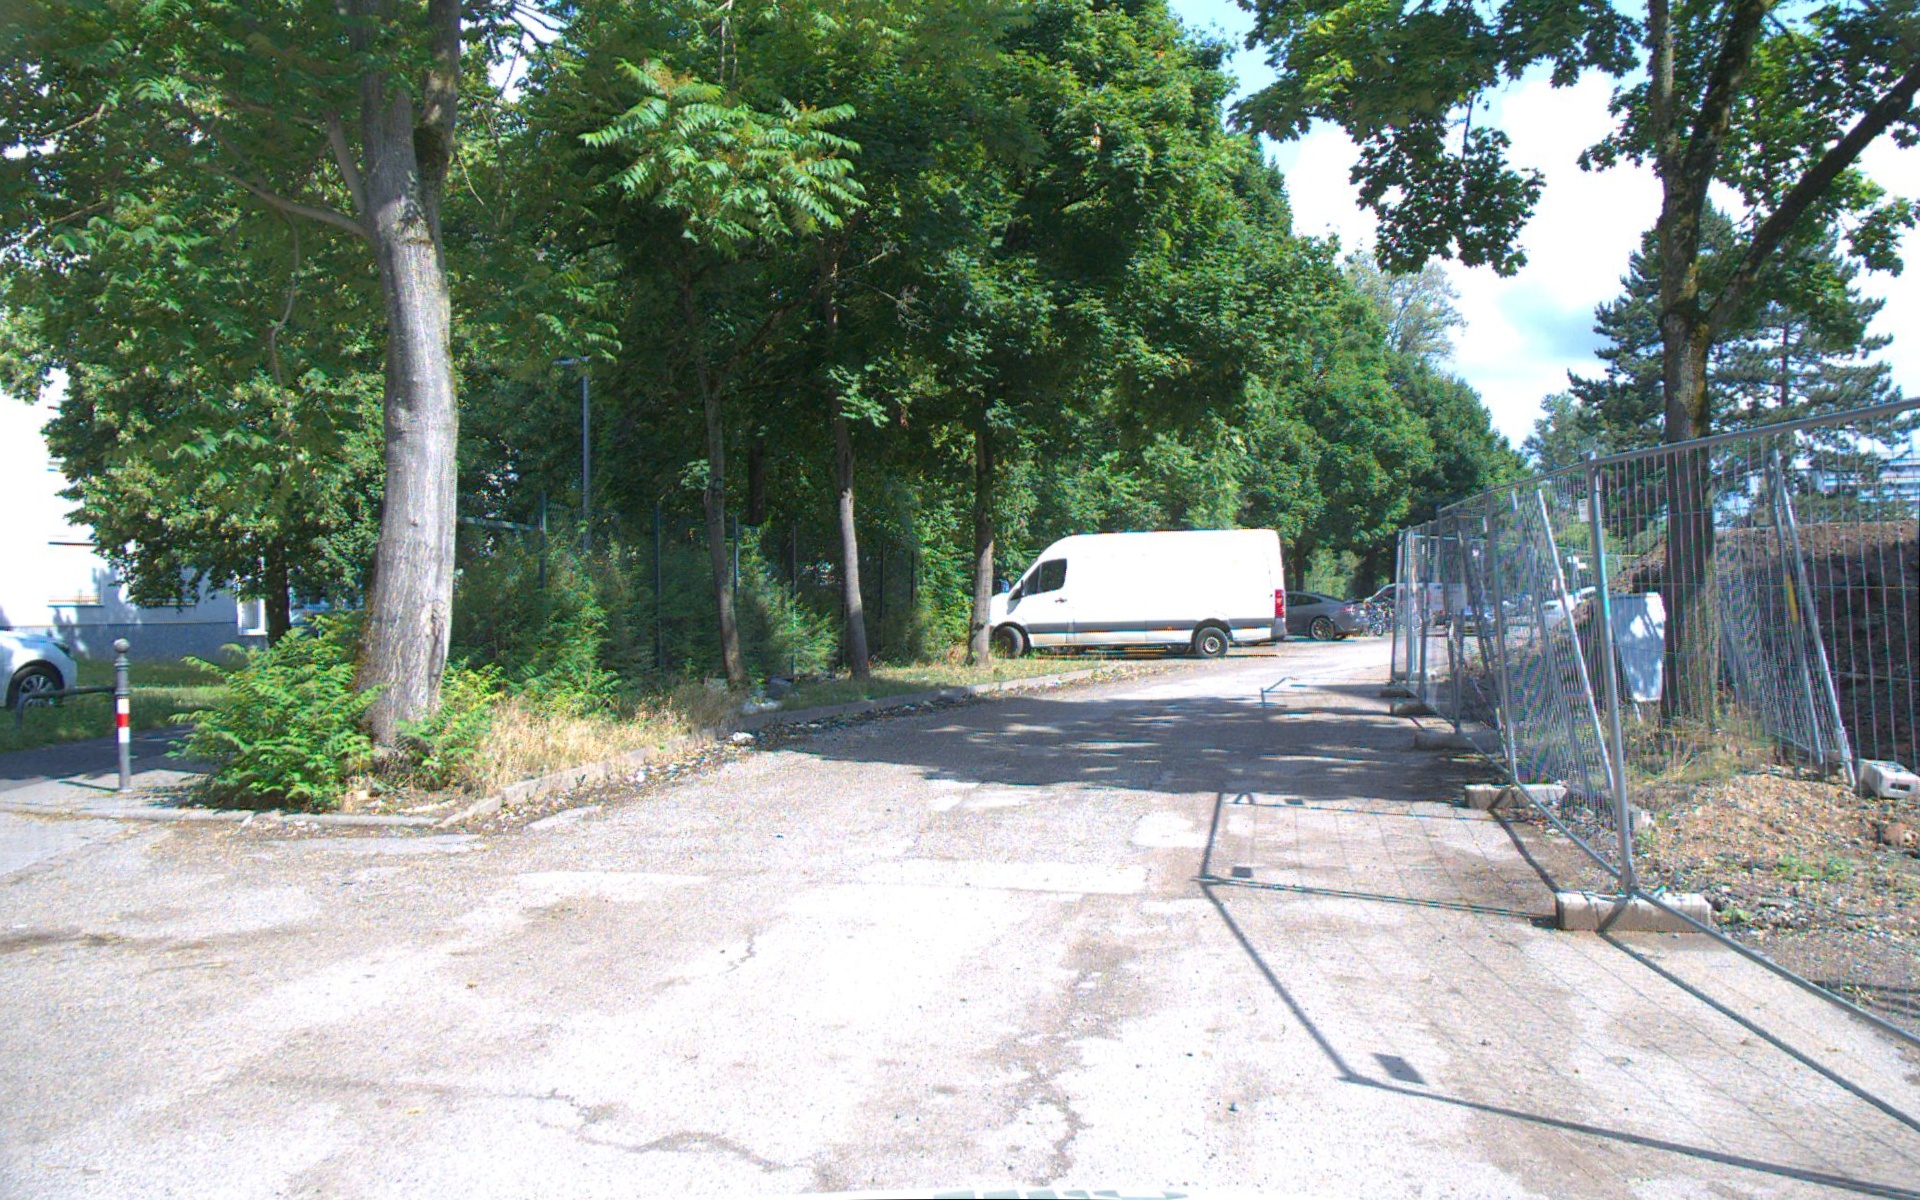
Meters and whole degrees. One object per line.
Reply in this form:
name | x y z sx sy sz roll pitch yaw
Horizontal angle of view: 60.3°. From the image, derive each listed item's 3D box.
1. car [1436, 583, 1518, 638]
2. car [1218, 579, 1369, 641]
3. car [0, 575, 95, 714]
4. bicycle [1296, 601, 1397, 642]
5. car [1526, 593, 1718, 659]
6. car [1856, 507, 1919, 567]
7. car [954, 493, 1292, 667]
car | 16.375 0.350 52.272 1.803 1.453 3.995 3 -2 27
car | 9.500 0.282 47.132 3.906 1.453 1.844 4 -2 21
car | -11.279 0.447 17.088 1.718 1.445 3.915 3 0 23
bicycle | 11.771 0.655 50.408 2.819 1.008 1.017 3 -2 23
car | 18.214 0.709 45.532 4.758 1.453 1.843 3 -2 25
car | 27.737 -1.683 46.011 4.758 1.453 1.843 3 -2 25
car | 3.493 -0.424 35.417 6.806 3.100 2.001 5 0 8
